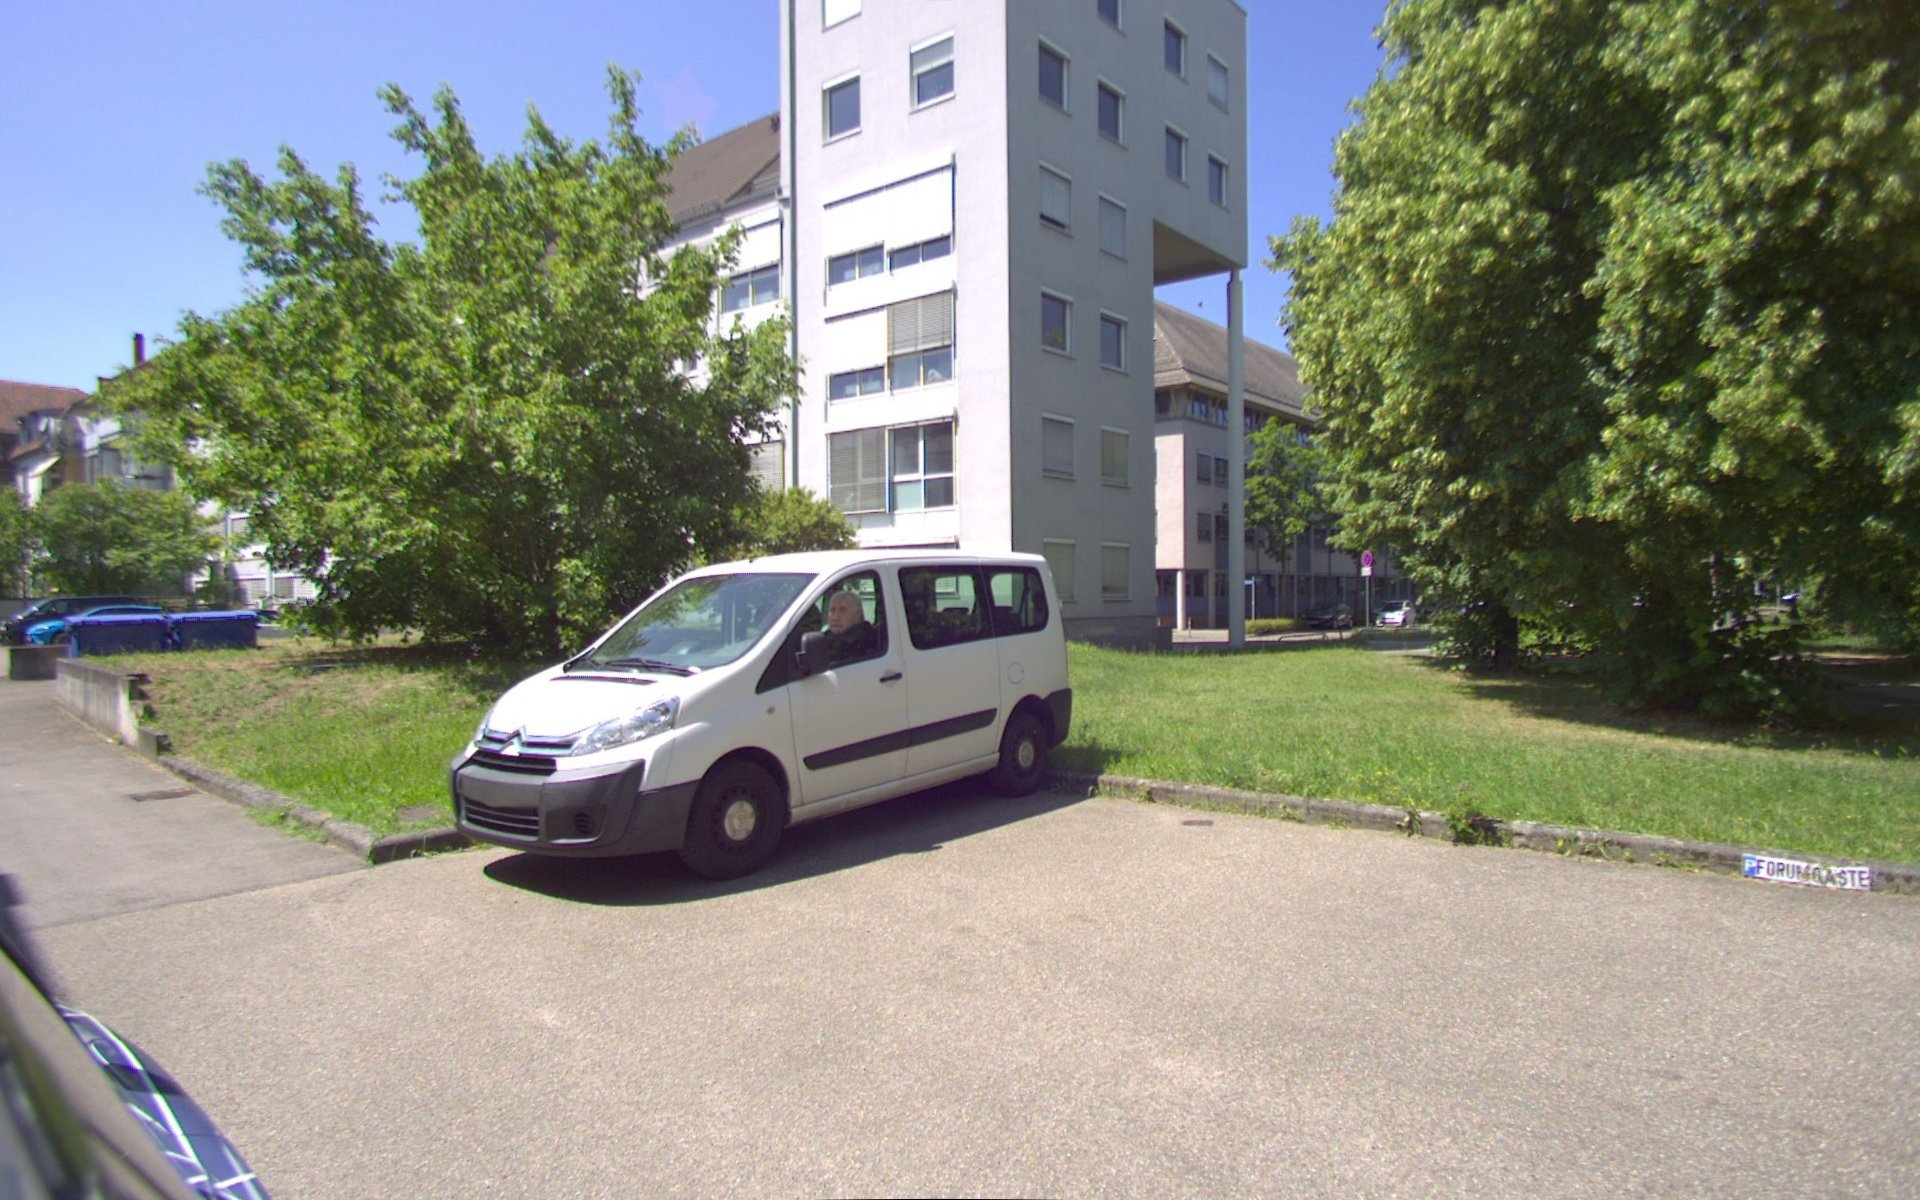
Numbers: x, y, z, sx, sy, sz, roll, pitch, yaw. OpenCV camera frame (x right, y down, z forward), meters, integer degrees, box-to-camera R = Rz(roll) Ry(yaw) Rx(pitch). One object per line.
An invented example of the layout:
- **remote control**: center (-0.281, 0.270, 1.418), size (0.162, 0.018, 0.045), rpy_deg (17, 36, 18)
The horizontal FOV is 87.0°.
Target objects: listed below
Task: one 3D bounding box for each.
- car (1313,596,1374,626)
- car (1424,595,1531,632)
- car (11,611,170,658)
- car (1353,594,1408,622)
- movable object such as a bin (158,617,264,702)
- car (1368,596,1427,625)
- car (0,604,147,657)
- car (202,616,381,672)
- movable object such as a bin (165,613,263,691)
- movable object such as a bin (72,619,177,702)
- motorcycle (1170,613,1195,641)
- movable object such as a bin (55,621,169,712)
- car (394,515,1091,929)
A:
- **car**: center (21.833, 0.583, 57.533), size (1.976, 1.630, 4.114), rpy_deg (0, 0, 41)
- **car**: center (24.223, 0.587, 47.401), size (4.167, 1.630, 1.950), rpy_deg (0, 0, 39)
- **car**: center (-31.847, 1.223, 37.162), size (1.856, 1.565, 4.118), rpy_deg (0, 0, 36)
- **car**: center (26.017, 0.480, 62.511), size (1.975, 1.630, 4.114), rpy_deg (0, 0, 41)
- **movable object such as a bin**: center (-12.679, 0.972, 17.139), size (1.104, 1.337, 1.241), rpy_deg (0, 0, 42)
- **car**: center (25.241, 0.574, 58.367), size (1.976, 1.630, 4.114), rpy_deg (0, 0, 41)
- **car**: center (-34.064, 1.106, 38.620), size (1.998, 1.846, 4.394), rpy_deg (0, 1, 38)
- **car**: center (-18.965, 1.197, 28.846), size (1.709, 1.447, 3.949), rpy_deg (0, -1, 38)
- **movable object such as a bin**: center (-13.755, 0.926, 18.661), size (1.104, 1.337, 1.241), rpy_deg (0, 0, 42)
- **movable object such as a bin**: center (-14.573, 1.017, 17.655), size (1.104, 1.337, 1.241), rpy_deg (0, 0, 42)
- **motorcycle**: center (10.090, 1.220, 45.921), size (0.691, 1.176, 2.331), rpy_deg (0, 0, 2)
- **movable object such as a bin**: center (-13.528, 1.022, 16.146), size (1.104, 1.337, 1.241), rpy_deg (0, 0, 42)
- **car**: center (-1.108, 0.595, 7.230), size (1.996, 1.926, 4.745), rpy_deg (-2, -1, 36)
